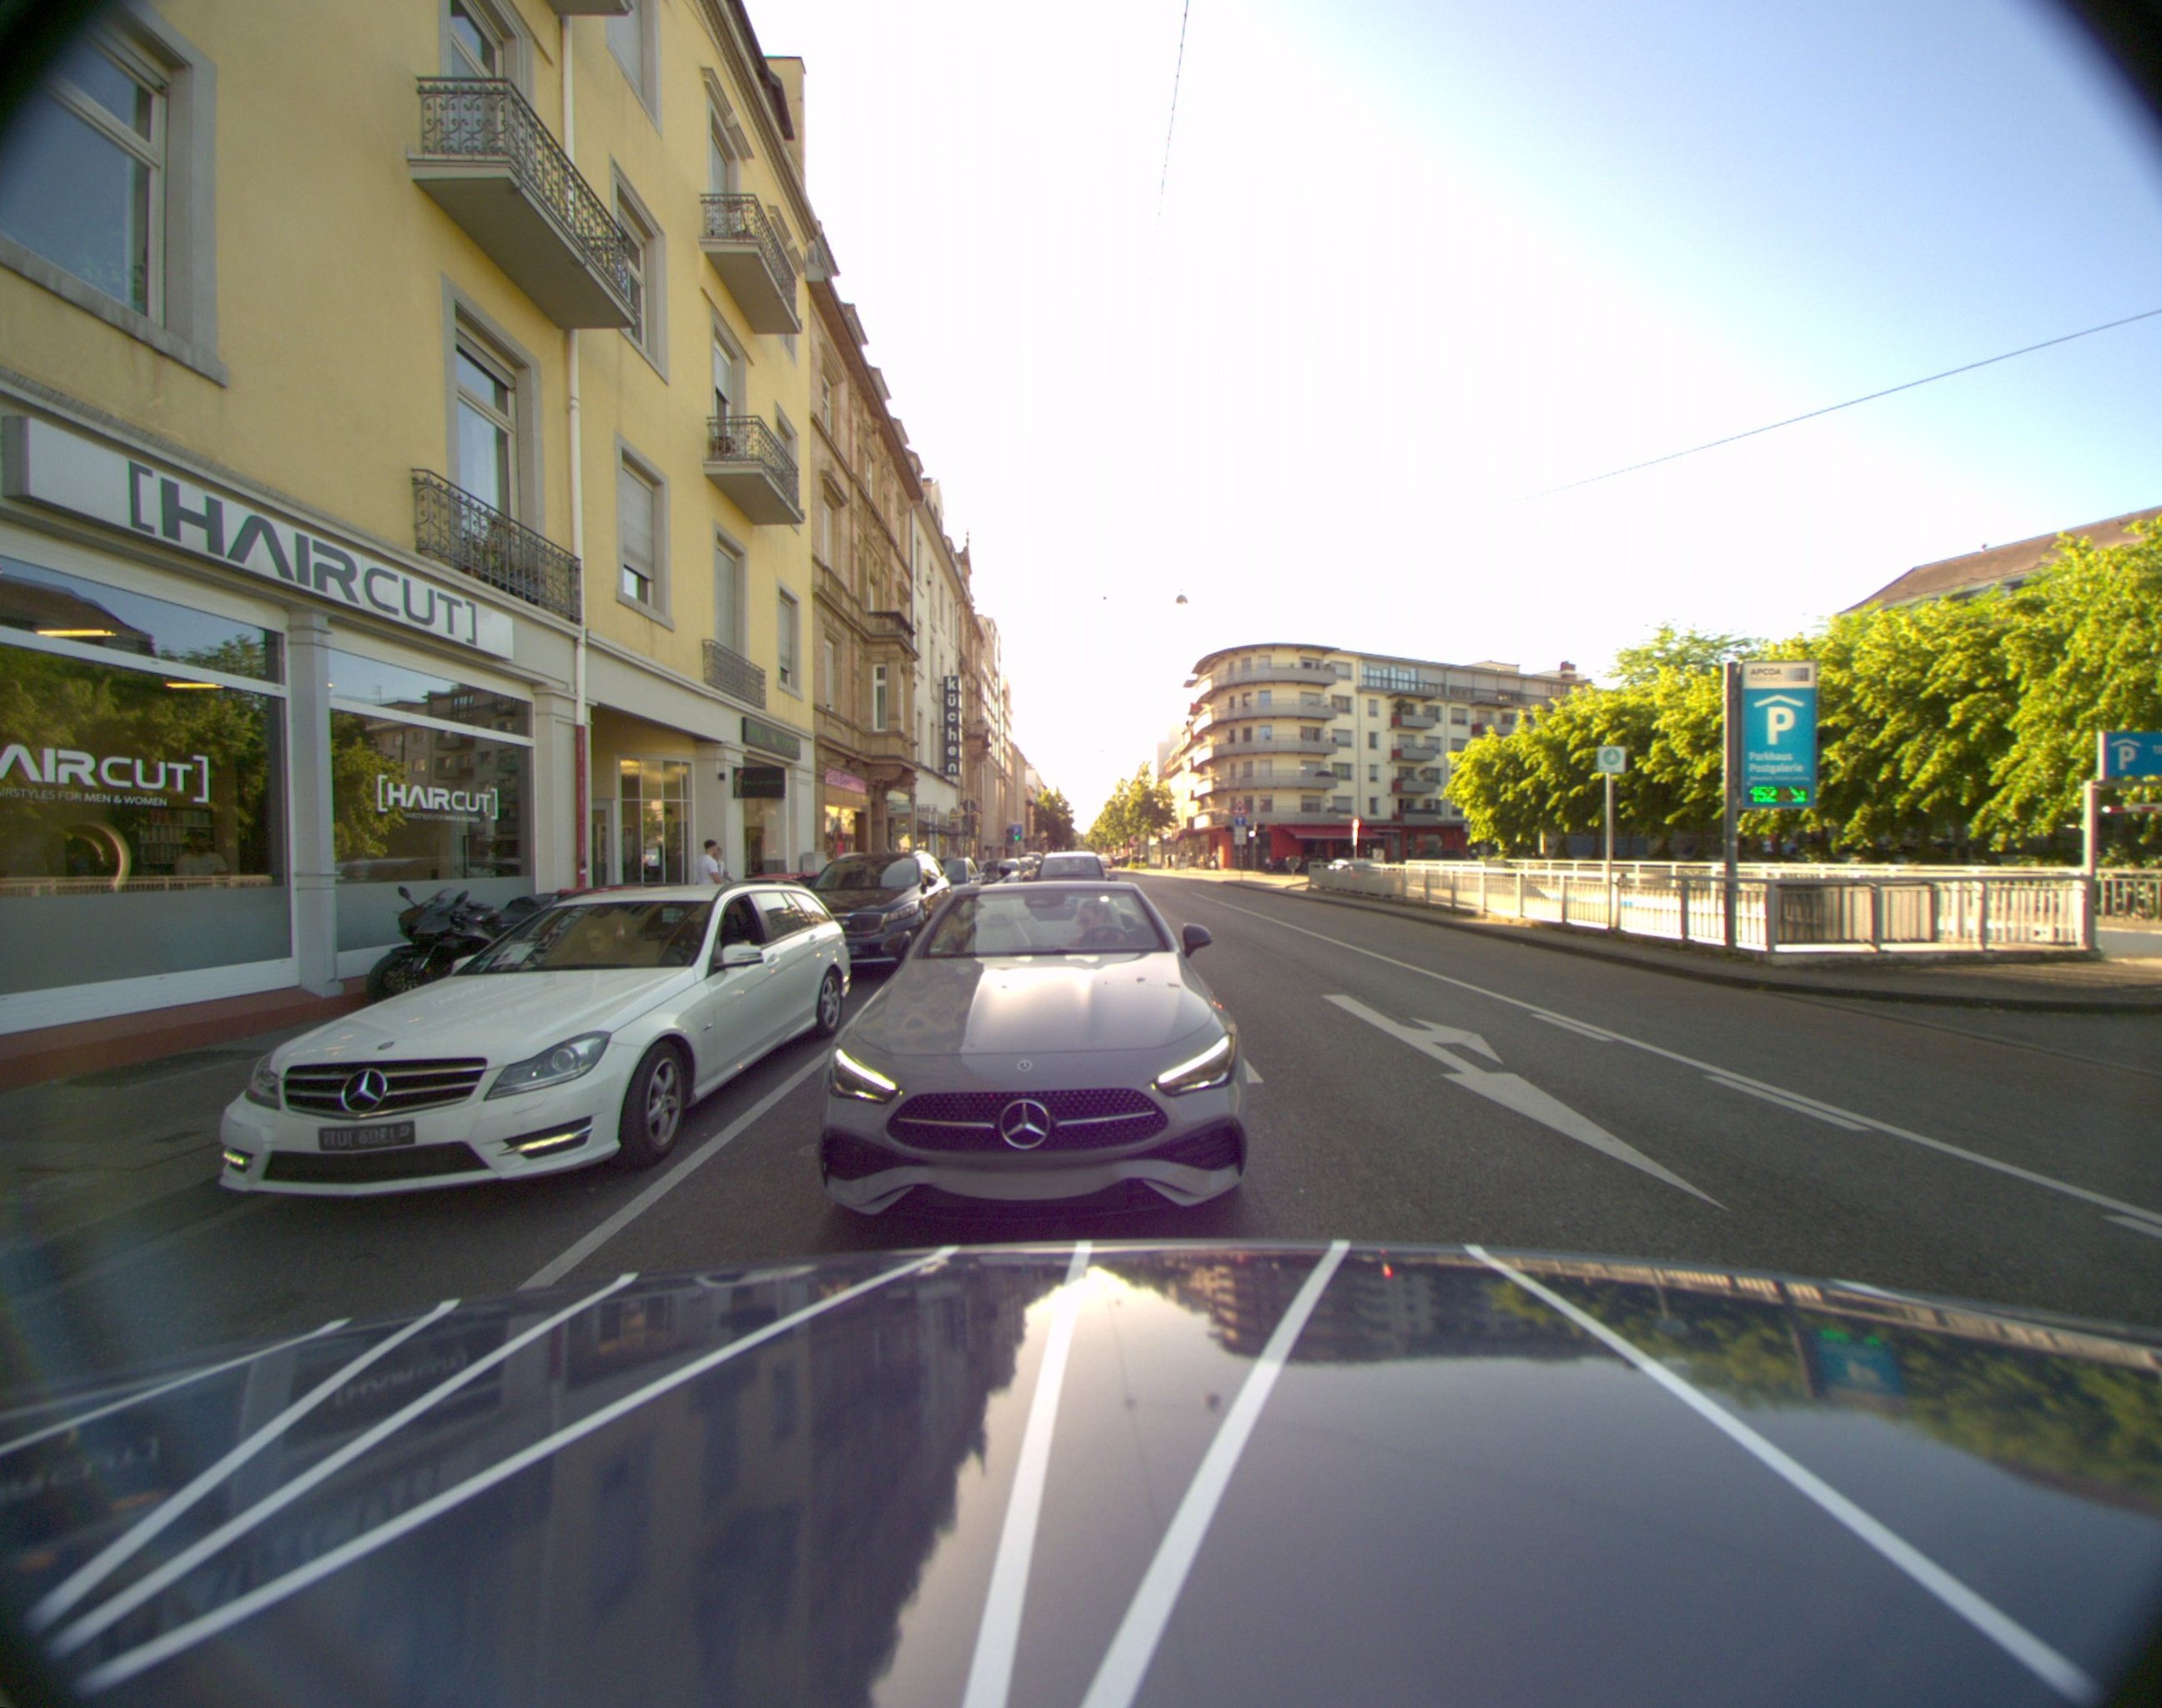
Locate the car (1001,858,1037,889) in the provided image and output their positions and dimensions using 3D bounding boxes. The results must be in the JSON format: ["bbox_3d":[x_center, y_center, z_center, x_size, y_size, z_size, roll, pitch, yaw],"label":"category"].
[{"bbox_3d":[-2.954,0.899,36.689,1.461,1.310,3.363,-2,1,-1],"label":"car"}]

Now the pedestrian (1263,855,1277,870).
[{"bbox_3d":[14.923,0.664,60.047,0.780,1.191,0.884,-2,1,-10],"label":"pedestrian"}]

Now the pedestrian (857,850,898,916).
[{"bbox_3d":[-5.443,0.758,20.363,0.837,1.709,0.819,-2,1,-3],"label":"pedestrian"}]

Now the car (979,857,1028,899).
[{"bbox_3d":[-3.026,0.902,30.321,1.695,1.482,3.796,-2,1,-3],"label":"car"}]

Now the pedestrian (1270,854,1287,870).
[{"bbox_3d":[15.430,0.652,59.388,0.937,1.191,0.832,-3,1,-24],"label":"pedestrian"}]

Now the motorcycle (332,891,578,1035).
[{"bbox_3d":[-6.256,1.023,7.797,0.735,1.124,2.109,2,1,1],"label":"motorcycle"}]

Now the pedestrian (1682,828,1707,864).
[{"bbox_3d":[31.827,-0.414,39.414,0.748,1.832,0.683,-3,1,-21],"label":"pedestrian"}]

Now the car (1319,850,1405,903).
[{"bbox_3d":[10.472,0.784,28.637,1.675,1.523,4.246,-1,5,0],"label":"car"}]

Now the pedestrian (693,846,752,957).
[{"bbox_3d":[-6.149,0.794,13.069,0.630,1.826,0.770,-2,1,-7],"label":"pedestrian"}]

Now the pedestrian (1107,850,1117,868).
[{"bbox_3d":[4.187,0.684,101.728,1.117,2.328,1.028,-2,1,-3],"label":"pedestrian"}]

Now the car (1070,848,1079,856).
[{"bbox_3d":[-1.338,-0.450,152.444,1.695,1.437,3.575,-2,1,-2],"label":"car"}]

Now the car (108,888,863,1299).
[{"bbox_3d":[-3.026,1.072,5.255,1.672,1.364,4.377,-2,1,1],"label":"car"}]

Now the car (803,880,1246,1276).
[{"bbox_3d":[-0.282,0.997,5.366,1.769,1.360,4.471,-2,1,-2],"label":"car"}]

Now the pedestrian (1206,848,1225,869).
[{"bbox_3d":[11.131,0.344,62.997,1.140,1.656,1.271,-2,1,-13],"label":"pedestrian"}]

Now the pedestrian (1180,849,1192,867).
[{"bbox_3d":[10.322,0.405,74.734,1.060,1.739,0.962,-2,1,1],"label":"pedestrian"}]

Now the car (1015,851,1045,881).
[{"bbox_3d":[-3.152,0.715,47.556,1.695,1.670,3.880,-2,1,-3],"label":"car"}]

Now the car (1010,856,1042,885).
[{"bbox_3d":[-2.942,0.865,40.958,1.461,1.391,3.363,-2,1,-1],"label":"car"}]

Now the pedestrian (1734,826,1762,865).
[{"bbox_3d":[32.281,-0.395,36.780,0.748,1.852,0.683,-2,1,-13],"label":"pedestrian"}]

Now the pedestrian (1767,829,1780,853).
[{"bbox_3d":[46.250,-0.839,50.751,0.494,1.570,0.493,-3,1,-24],"label":"pedestrian"}]

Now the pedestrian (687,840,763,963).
[{"bbox_3d":[-5.666,0.729,12.100,0.975,1.866,0.534,-3,1,-31],"label":"pedestrian"}]

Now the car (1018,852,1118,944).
[{"bbox_3d":[-0.306,0.844,17.013,1.866,1.658,4.706,-2,1,-2],"label":"car"}]

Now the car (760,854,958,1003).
[{"bbox_3d":[-3.013,0.889,11.346,1.806,1.680,4.408,-2,1,-3],"label":"car"}]

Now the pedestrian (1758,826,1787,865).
[{"bbox_3d":[33.370,-0.425,36.676,0.748,1.832,0.683,-2,1,-13],"label":"pedestrian"}]

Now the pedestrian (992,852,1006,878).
[{"bbox_3d":[-5.848,0.777,54.367,0.826,1.750,0.823,-2,1,-1],"label":"pedestrian"}]

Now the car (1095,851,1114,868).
[{"bbox_3d":[2.657,0.573,85.050,1.836,1.831,3.886,1,1,-2],"label":"car"}]

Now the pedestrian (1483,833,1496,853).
[{"bbox_3d":[38.367,-1.004,71.365,0.747,1.832,0.684,-2,1,1],"label":"pedestrian"}]

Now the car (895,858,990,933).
[{"bbox_3d":[-3.182,0.905,17.998,1.583,1.514,2.998,-2,1,1],"label":"car"}]
